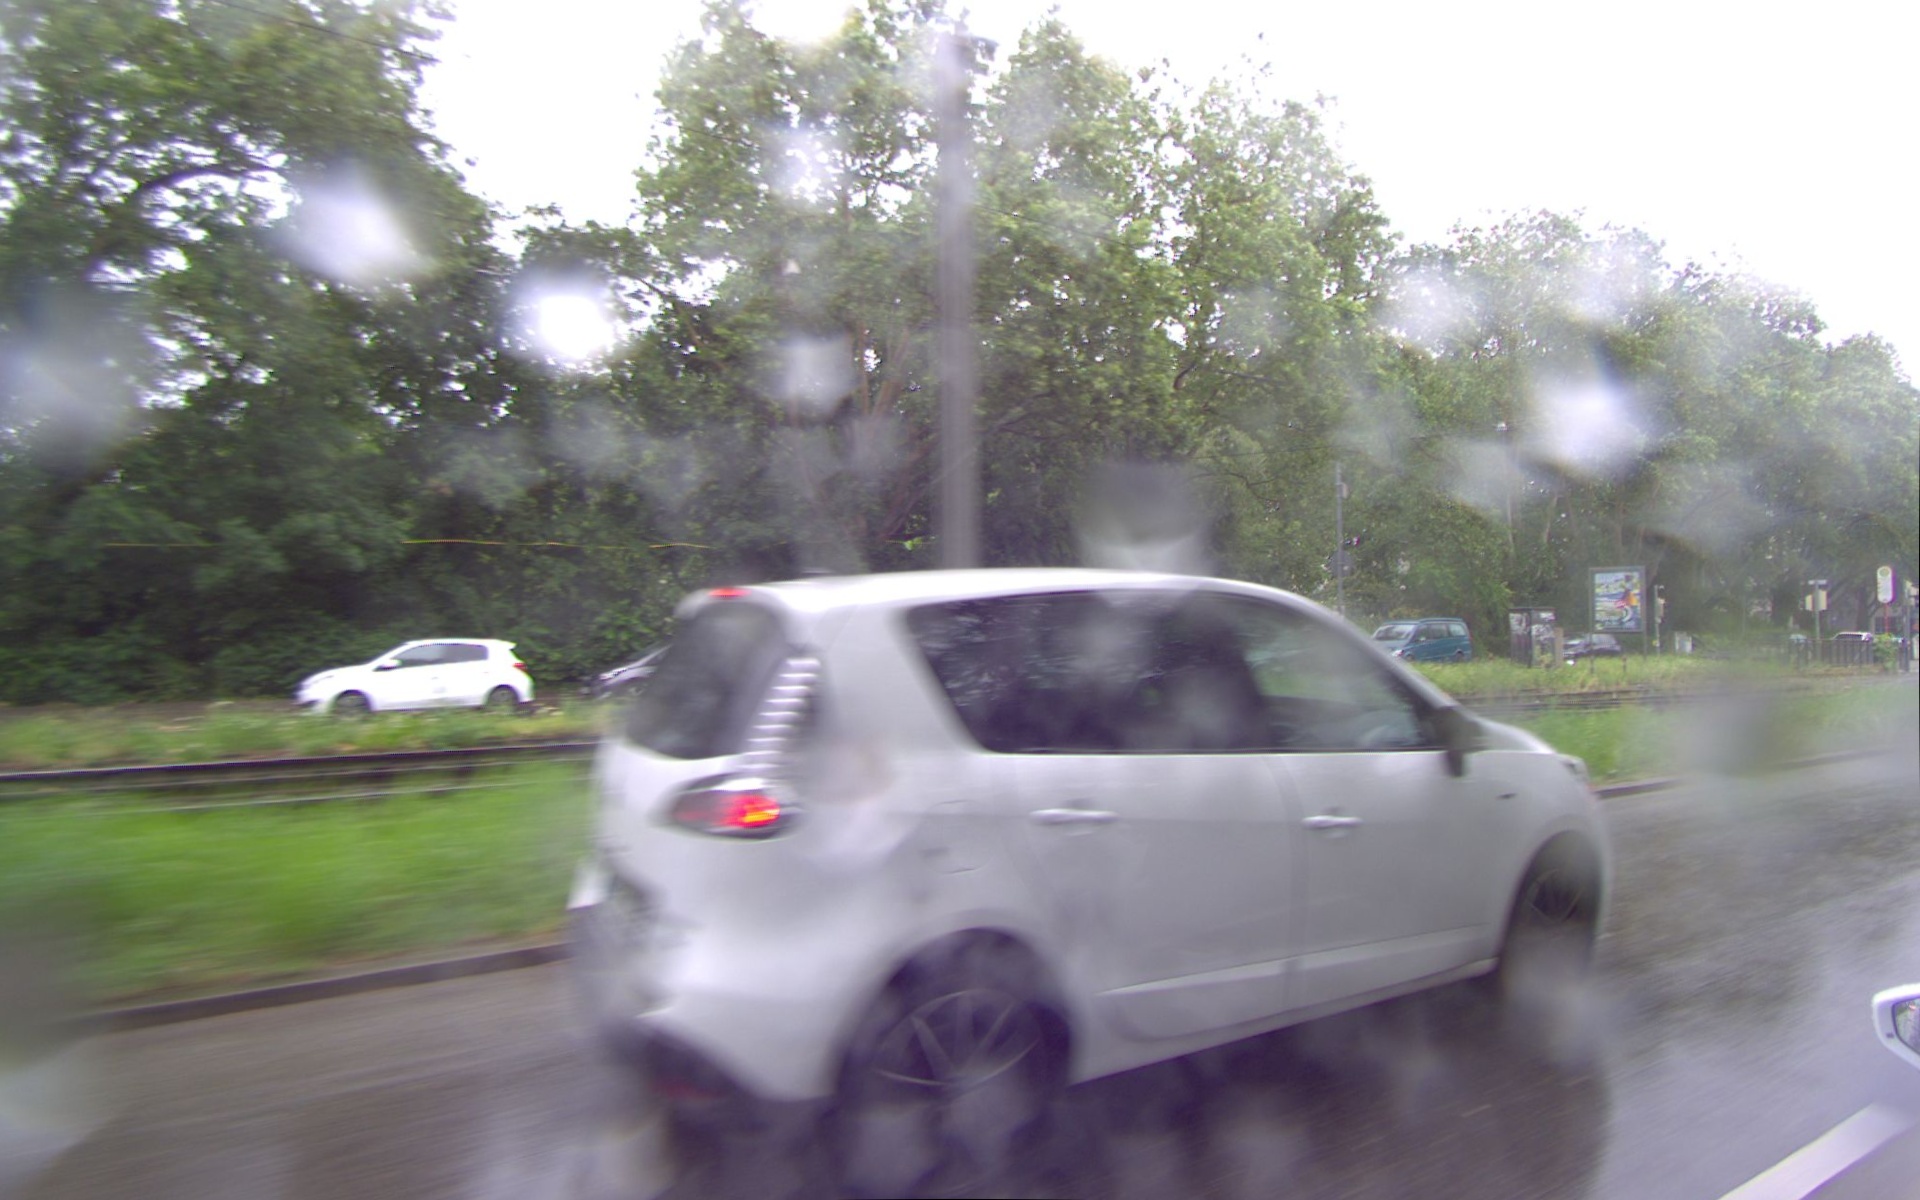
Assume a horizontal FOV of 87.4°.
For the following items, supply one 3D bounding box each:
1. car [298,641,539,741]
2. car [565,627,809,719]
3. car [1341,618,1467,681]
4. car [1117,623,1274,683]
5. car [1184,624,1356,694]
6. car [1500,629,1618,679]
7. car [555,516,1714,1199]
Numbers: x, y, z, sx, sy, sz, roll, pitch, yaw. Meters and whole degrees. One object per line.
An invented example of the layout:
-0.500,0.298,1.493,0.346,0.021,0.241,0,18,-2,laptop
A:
-10.005,1.604,18.642,3.774,1.669,1.751,2,-3,-34,car
-5.767,1.498,21.412,4.645,1.774,2.019,2,-3,-34,car
15.930,1.751,35.963,4.757,2.120,2.018,2,-3,-36,car
7.065,1.569,30.007,4.562,1.679,2.020,2,-3,-34,car
8.097,1.516,26.131,4.350,1.679,2.002,2,-3,-34,car
21.125,1.889,35.388,4.234,1.679,2.019,2,-3,-35,car
0.812,0.706,3.893,4.211,1.645,1.856,2,-1,-30,car
